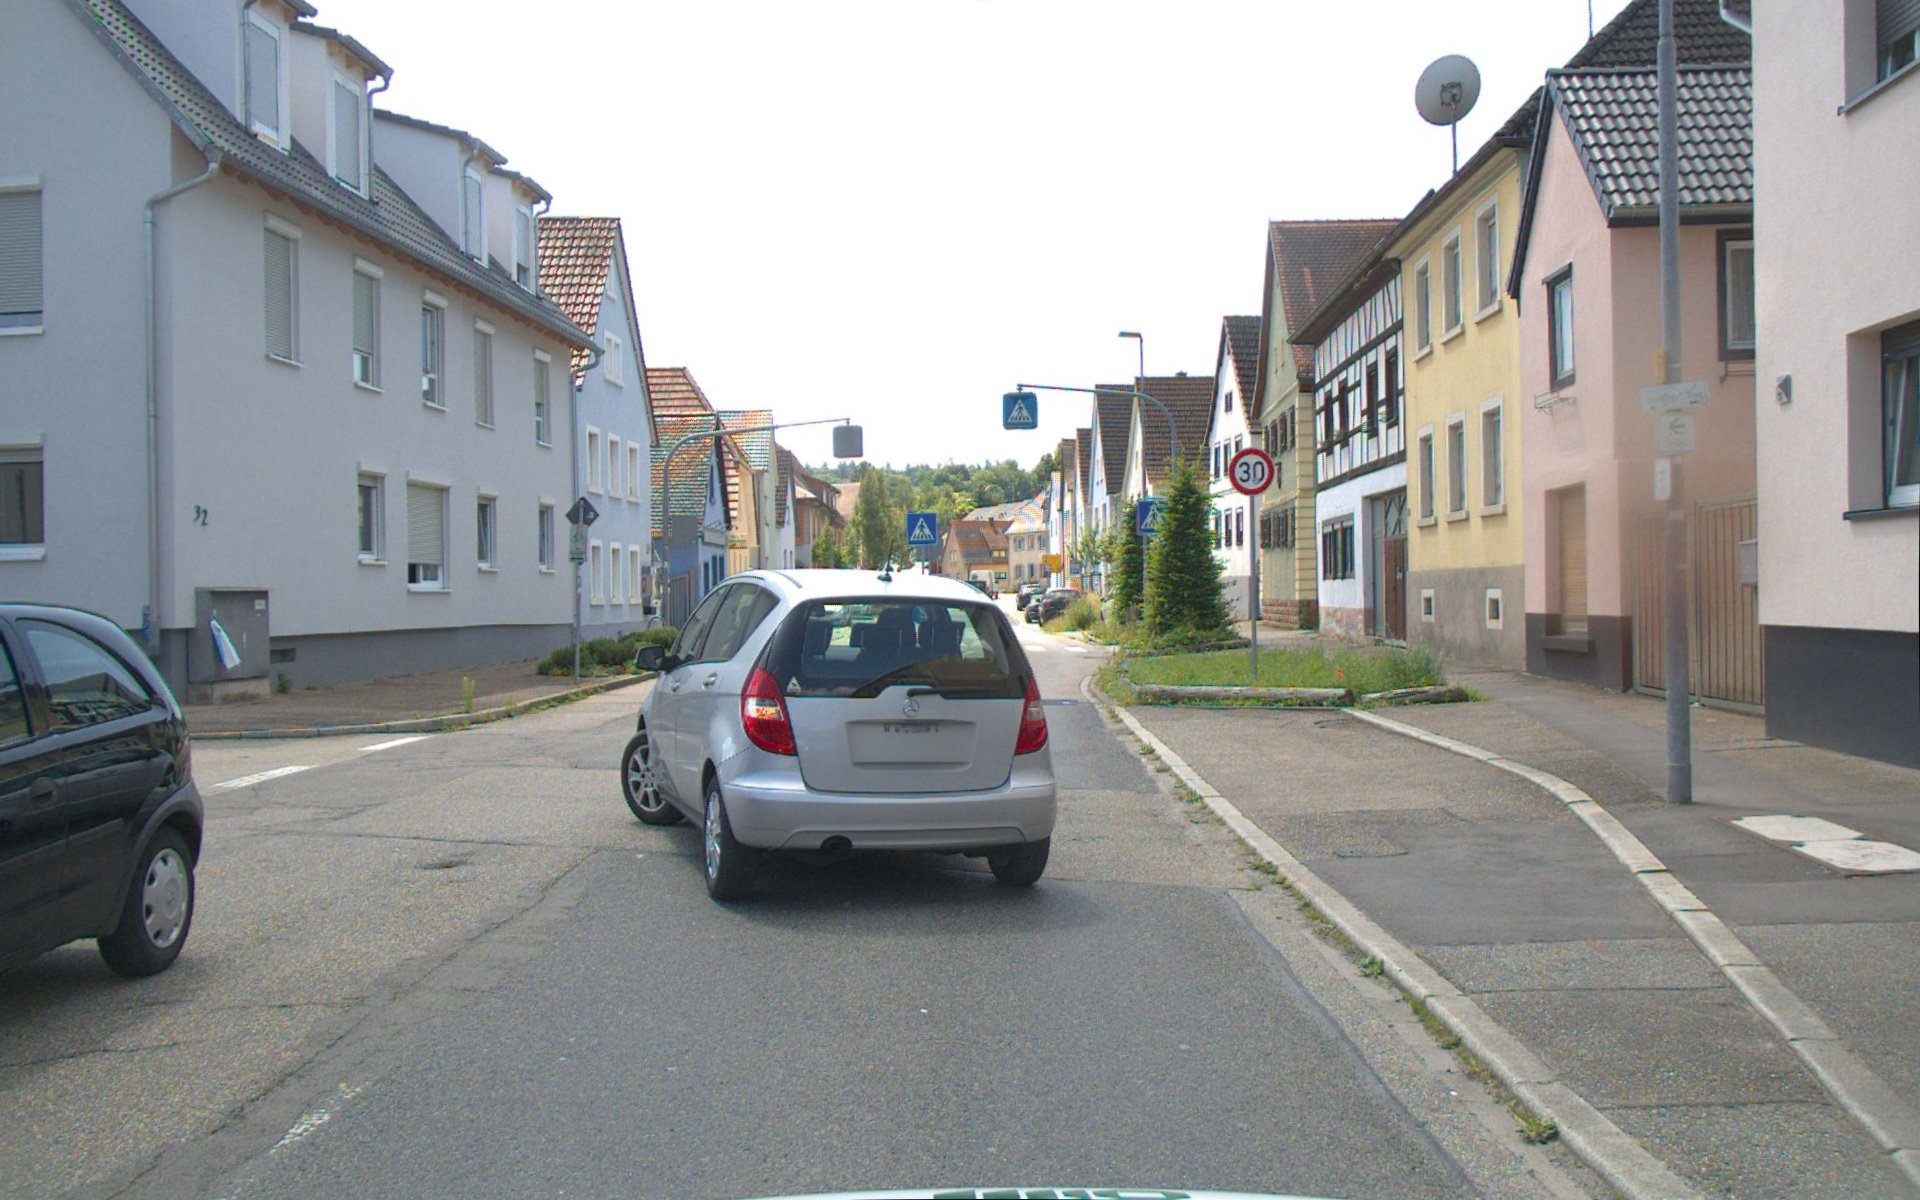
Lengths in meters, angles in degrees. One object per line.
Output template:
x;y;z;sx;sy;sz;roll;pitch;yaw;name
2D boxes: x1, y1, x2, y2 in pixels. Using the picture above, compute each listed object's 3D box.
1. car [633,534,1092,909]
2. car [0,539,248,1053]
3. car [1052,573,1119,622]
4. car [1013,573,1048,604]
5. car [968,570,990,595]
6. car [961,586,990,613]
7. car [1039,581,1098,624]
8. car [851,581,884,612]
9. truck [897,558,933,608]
-0.765;0.560;9.436;1.782;1.672;3.711;1;0;-17;car
-3.672;0.616;4.970;1.469;1.567;3.854;-2;-1;-2;car
4.187;-0.060;55.724;1.953;1.534;3.999;0;-2;0;car
4.492;-0.706;105.821;1.953;1.848;3.998;0;-2;-1;car
1.673;-1.546;148.365;1.953;2.049;3.999;0;-2;0;car
1.102;-0.022;118.275;1.953;1.848;3.998;0;-2;-1;car
4.062;0.115;62.388;1.953;1.534;3.999;0;-2;0;car
-5.205;-0.169;93.276;1.633;1.624;3.999;0;-2;0;car
-2.487;-0.899;93.016;1.953;2.581;6.737;0;-2;-1;truck
